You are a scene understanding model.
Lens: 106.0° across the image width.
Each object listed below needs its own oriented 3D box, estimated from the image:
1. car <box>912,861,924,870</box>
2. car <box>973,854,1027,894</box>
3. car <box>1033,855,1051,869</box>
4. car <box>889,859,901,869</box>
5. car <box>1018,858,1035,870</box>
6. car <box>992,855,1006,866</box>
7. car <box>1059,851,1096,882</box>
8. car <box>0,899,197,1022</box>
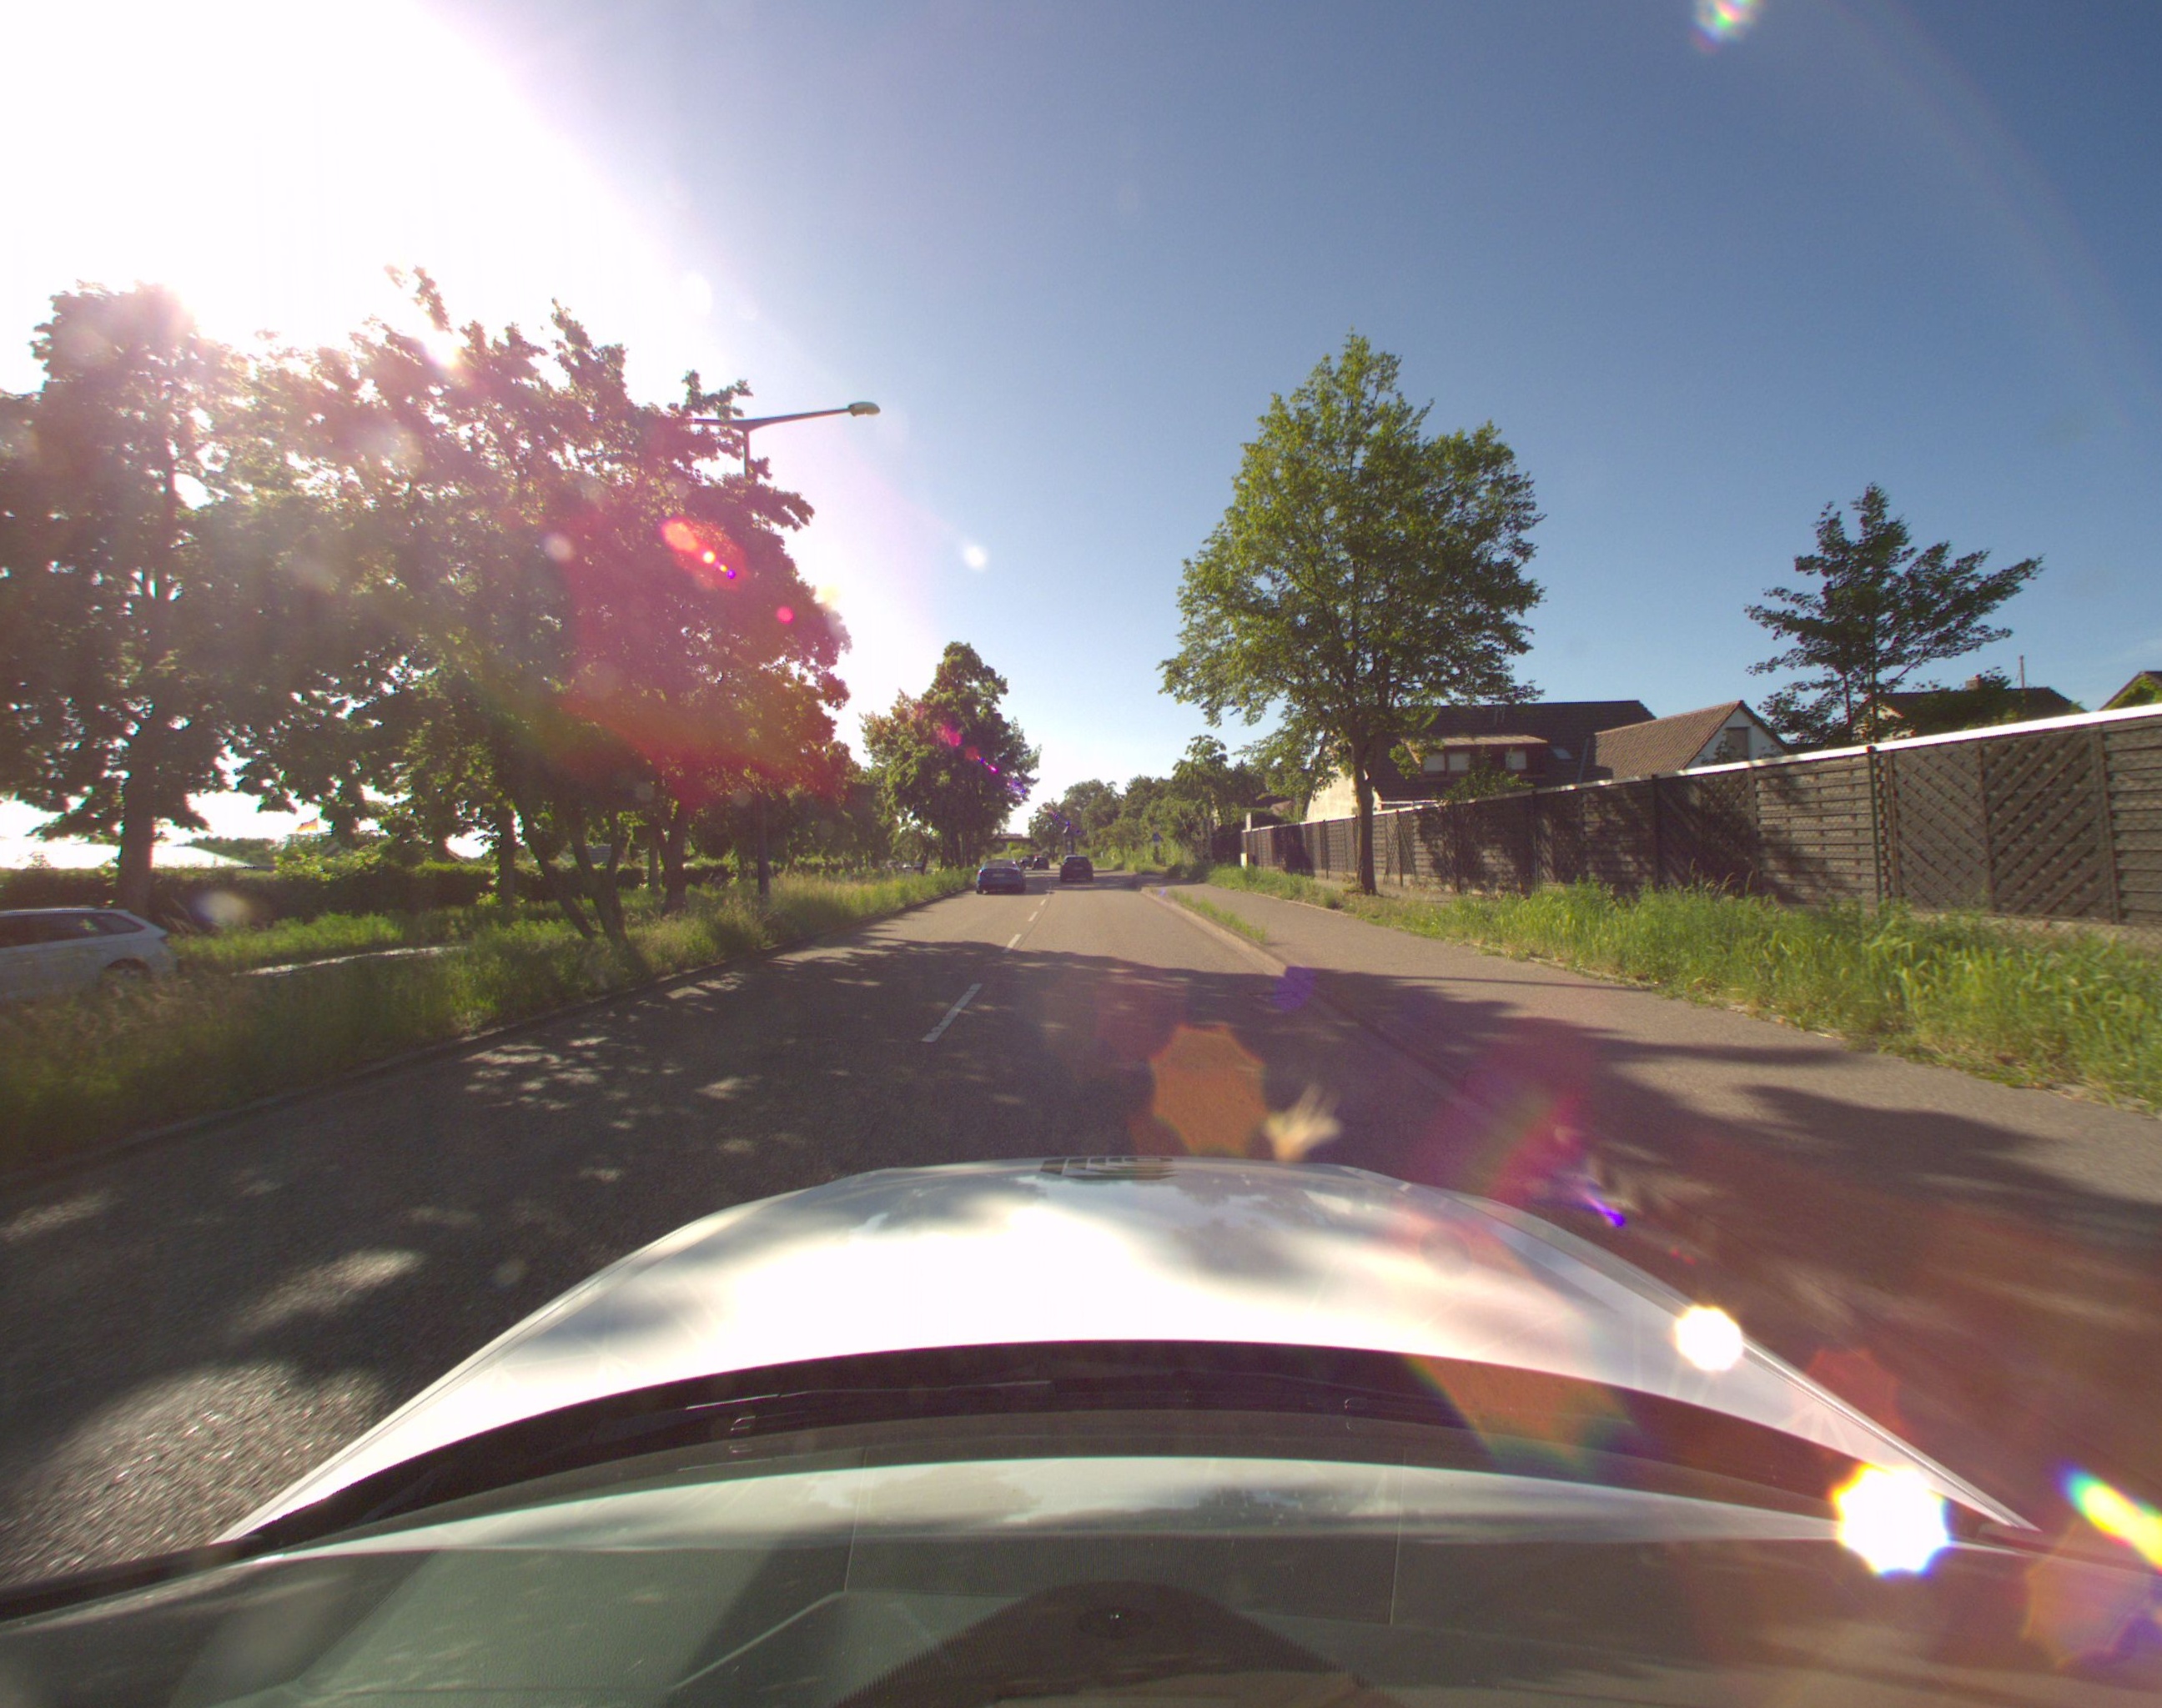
[{"bbox_3d":[-27.257,1.862,136.138,1.669,1.467,3.772,-2,0,-8],"label":"car"},{"bbox_3d":[-3.286,0.792,33.852,1.833,1.474,4.182,-3,0,-1],"label":"car"},{"bbox_3d":[-4.525,0.895,93.517,1.912,1.579,4.175,-1,0,-5],"label":"car"},{"bbox_3d":[-37.851,1.985,165.721,1.802,2.013,3.989,-2,0,-8],"label":"car"},{"bbox_3d":[-7.897,1.482,118.435,1.917,1.678,3.995,-1,0,-12],"label":"car"},{"bbox_3d":[-11.731,0.906,116.406,1.913,1.512,4.058,-2,0,-7],"label":"car"},{"bbox_3d":[-0.192,0.659,45.833,1.910,1.579,4.181,-2,0,-1],"label":"car"},{"bbox_3d":[-14.940,1.517,10.825,1.664,1.467,4.180,-5,0,1],"label":"car"}]
